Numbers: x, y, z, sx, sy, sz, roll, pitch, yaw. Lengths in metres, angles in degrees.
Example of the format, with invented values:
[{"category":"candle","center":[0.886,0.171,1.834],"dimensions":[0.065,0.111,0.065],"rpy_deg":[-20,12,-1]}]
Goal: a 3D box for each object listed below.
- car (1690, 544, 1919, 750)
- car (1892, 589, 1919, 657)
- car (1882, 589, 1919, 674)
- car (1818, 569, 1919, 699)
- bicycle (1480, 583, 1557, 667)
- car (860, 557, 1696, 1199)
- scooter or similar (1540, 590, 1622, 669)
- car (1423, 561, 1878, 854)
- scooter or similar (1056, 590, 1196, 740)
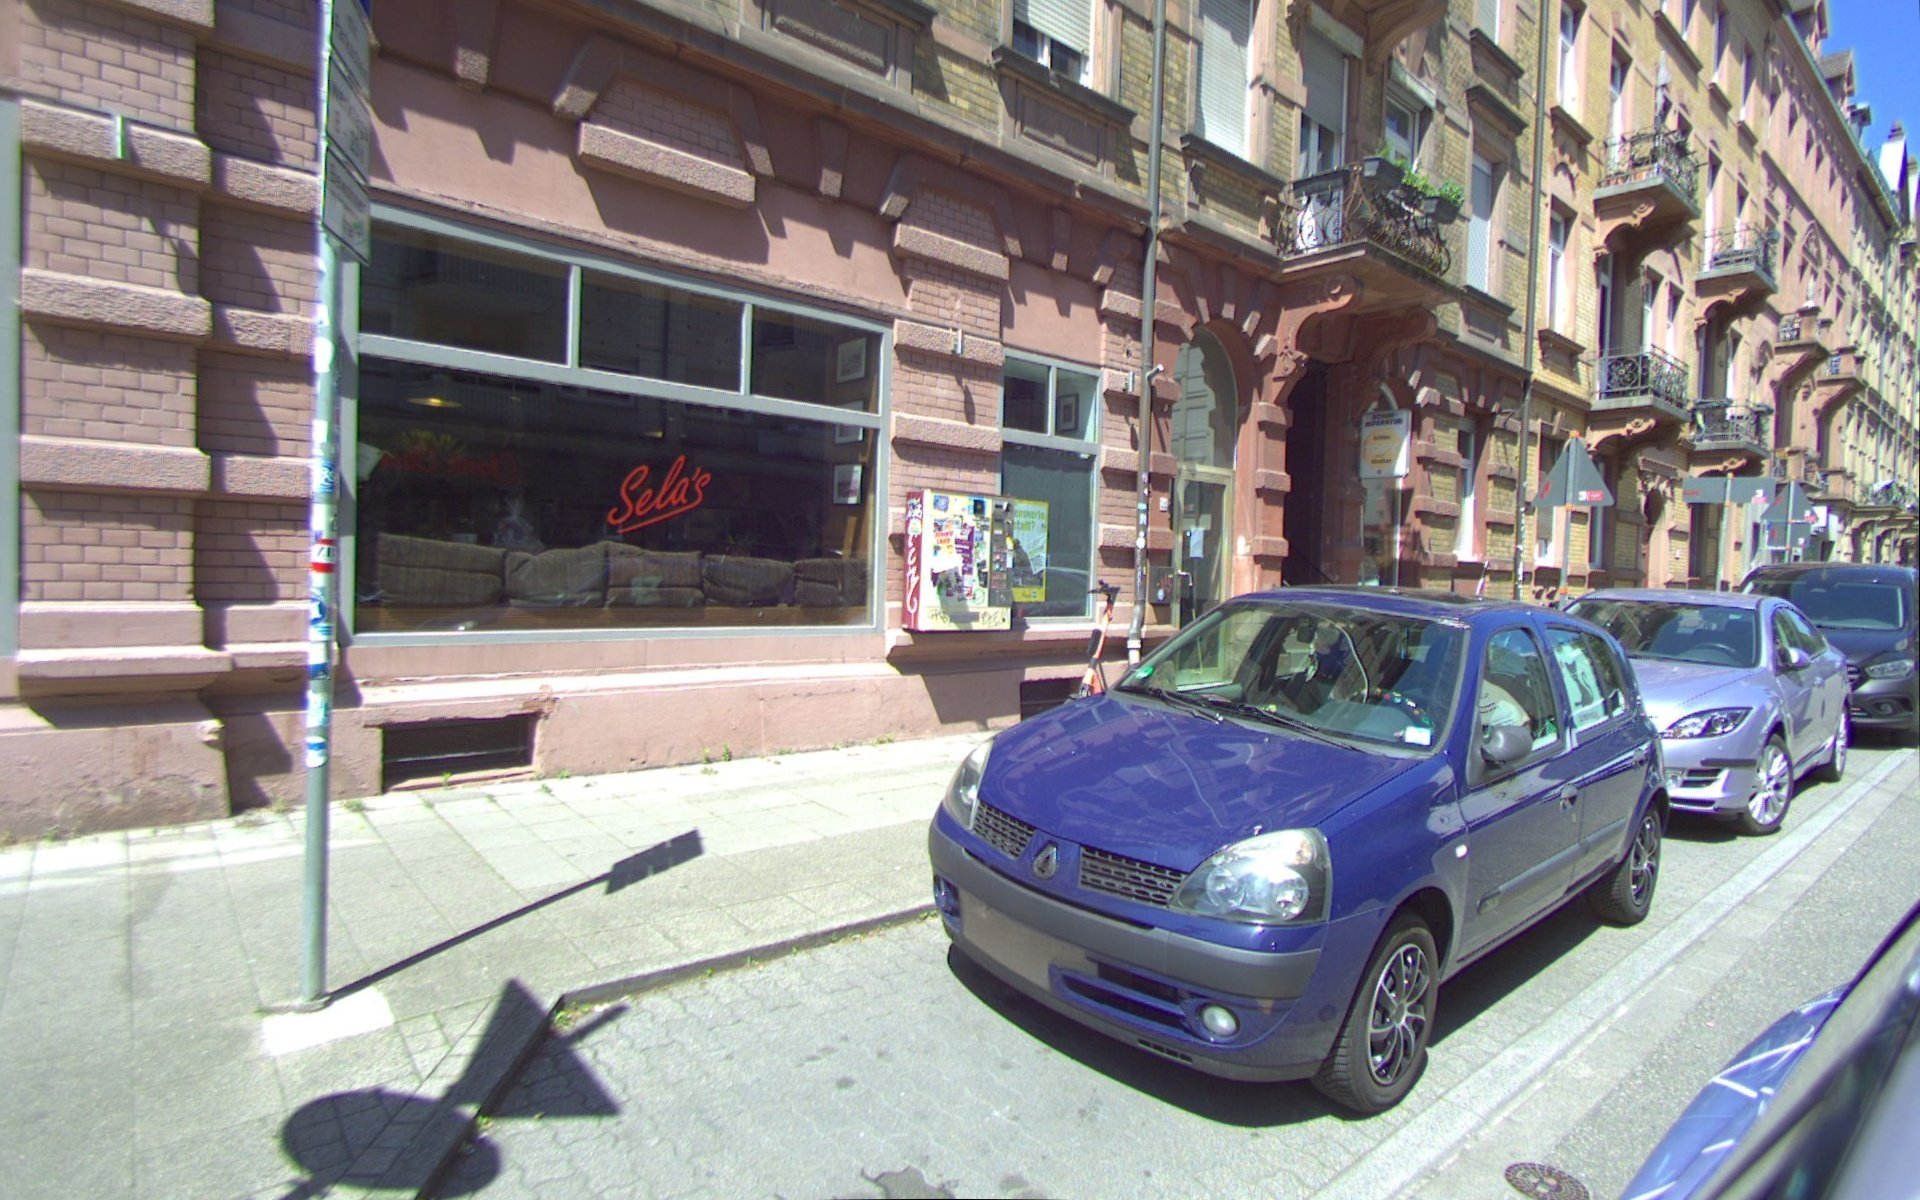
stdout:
[{"category":"car","center":[9.556,0.377,10.937],"dimensions":[4.264,1.788,1.828],"rpy_deg":[0,3,-43]},{"category":"car","center":[22.622,0.502,23.012],"dimensions":[3.933,1.479,1.827],"rpy_deg":[0,2,-43]},{"category":"car","center":[18.278,0.548,18.706],"dimensions":[1.761,1.467,3.844],"rpy_deg":[2,2,43]},{"category":"car","center":[14.295,0.449,15.083],"dimensions":[3.930,1.755,1.705],"rpy_deg":[0,1,-41]},{"category":"bicycle","center":[7.860,0.337,14.219],"dimensions":[1.725,1.117,0.354],"rpy_deg":[0,2,-41]},{"category":"car","center":[1.539,0.622,4.102],"dimensions":[3.598,1.449,1.630],"rpy_deg":[0,3,-43]},{"category":"scooter or similar","center":[9.854,0.438,16.026],"dimensions":[2.112,1.167,0.477],"rpy_deg":[0,1,-41]},{"category":"car","center":[5.192,0.524,7.338],"dimensions":[4.410,1.449,1.728],"rpy_deg":[0,4,-43]},{"category":"scooter or similar","center":[1.408,0.523,8.507],"dimensions":[1.246,1.191,0.294],"rpy_deg":[1,1,-31]}]
